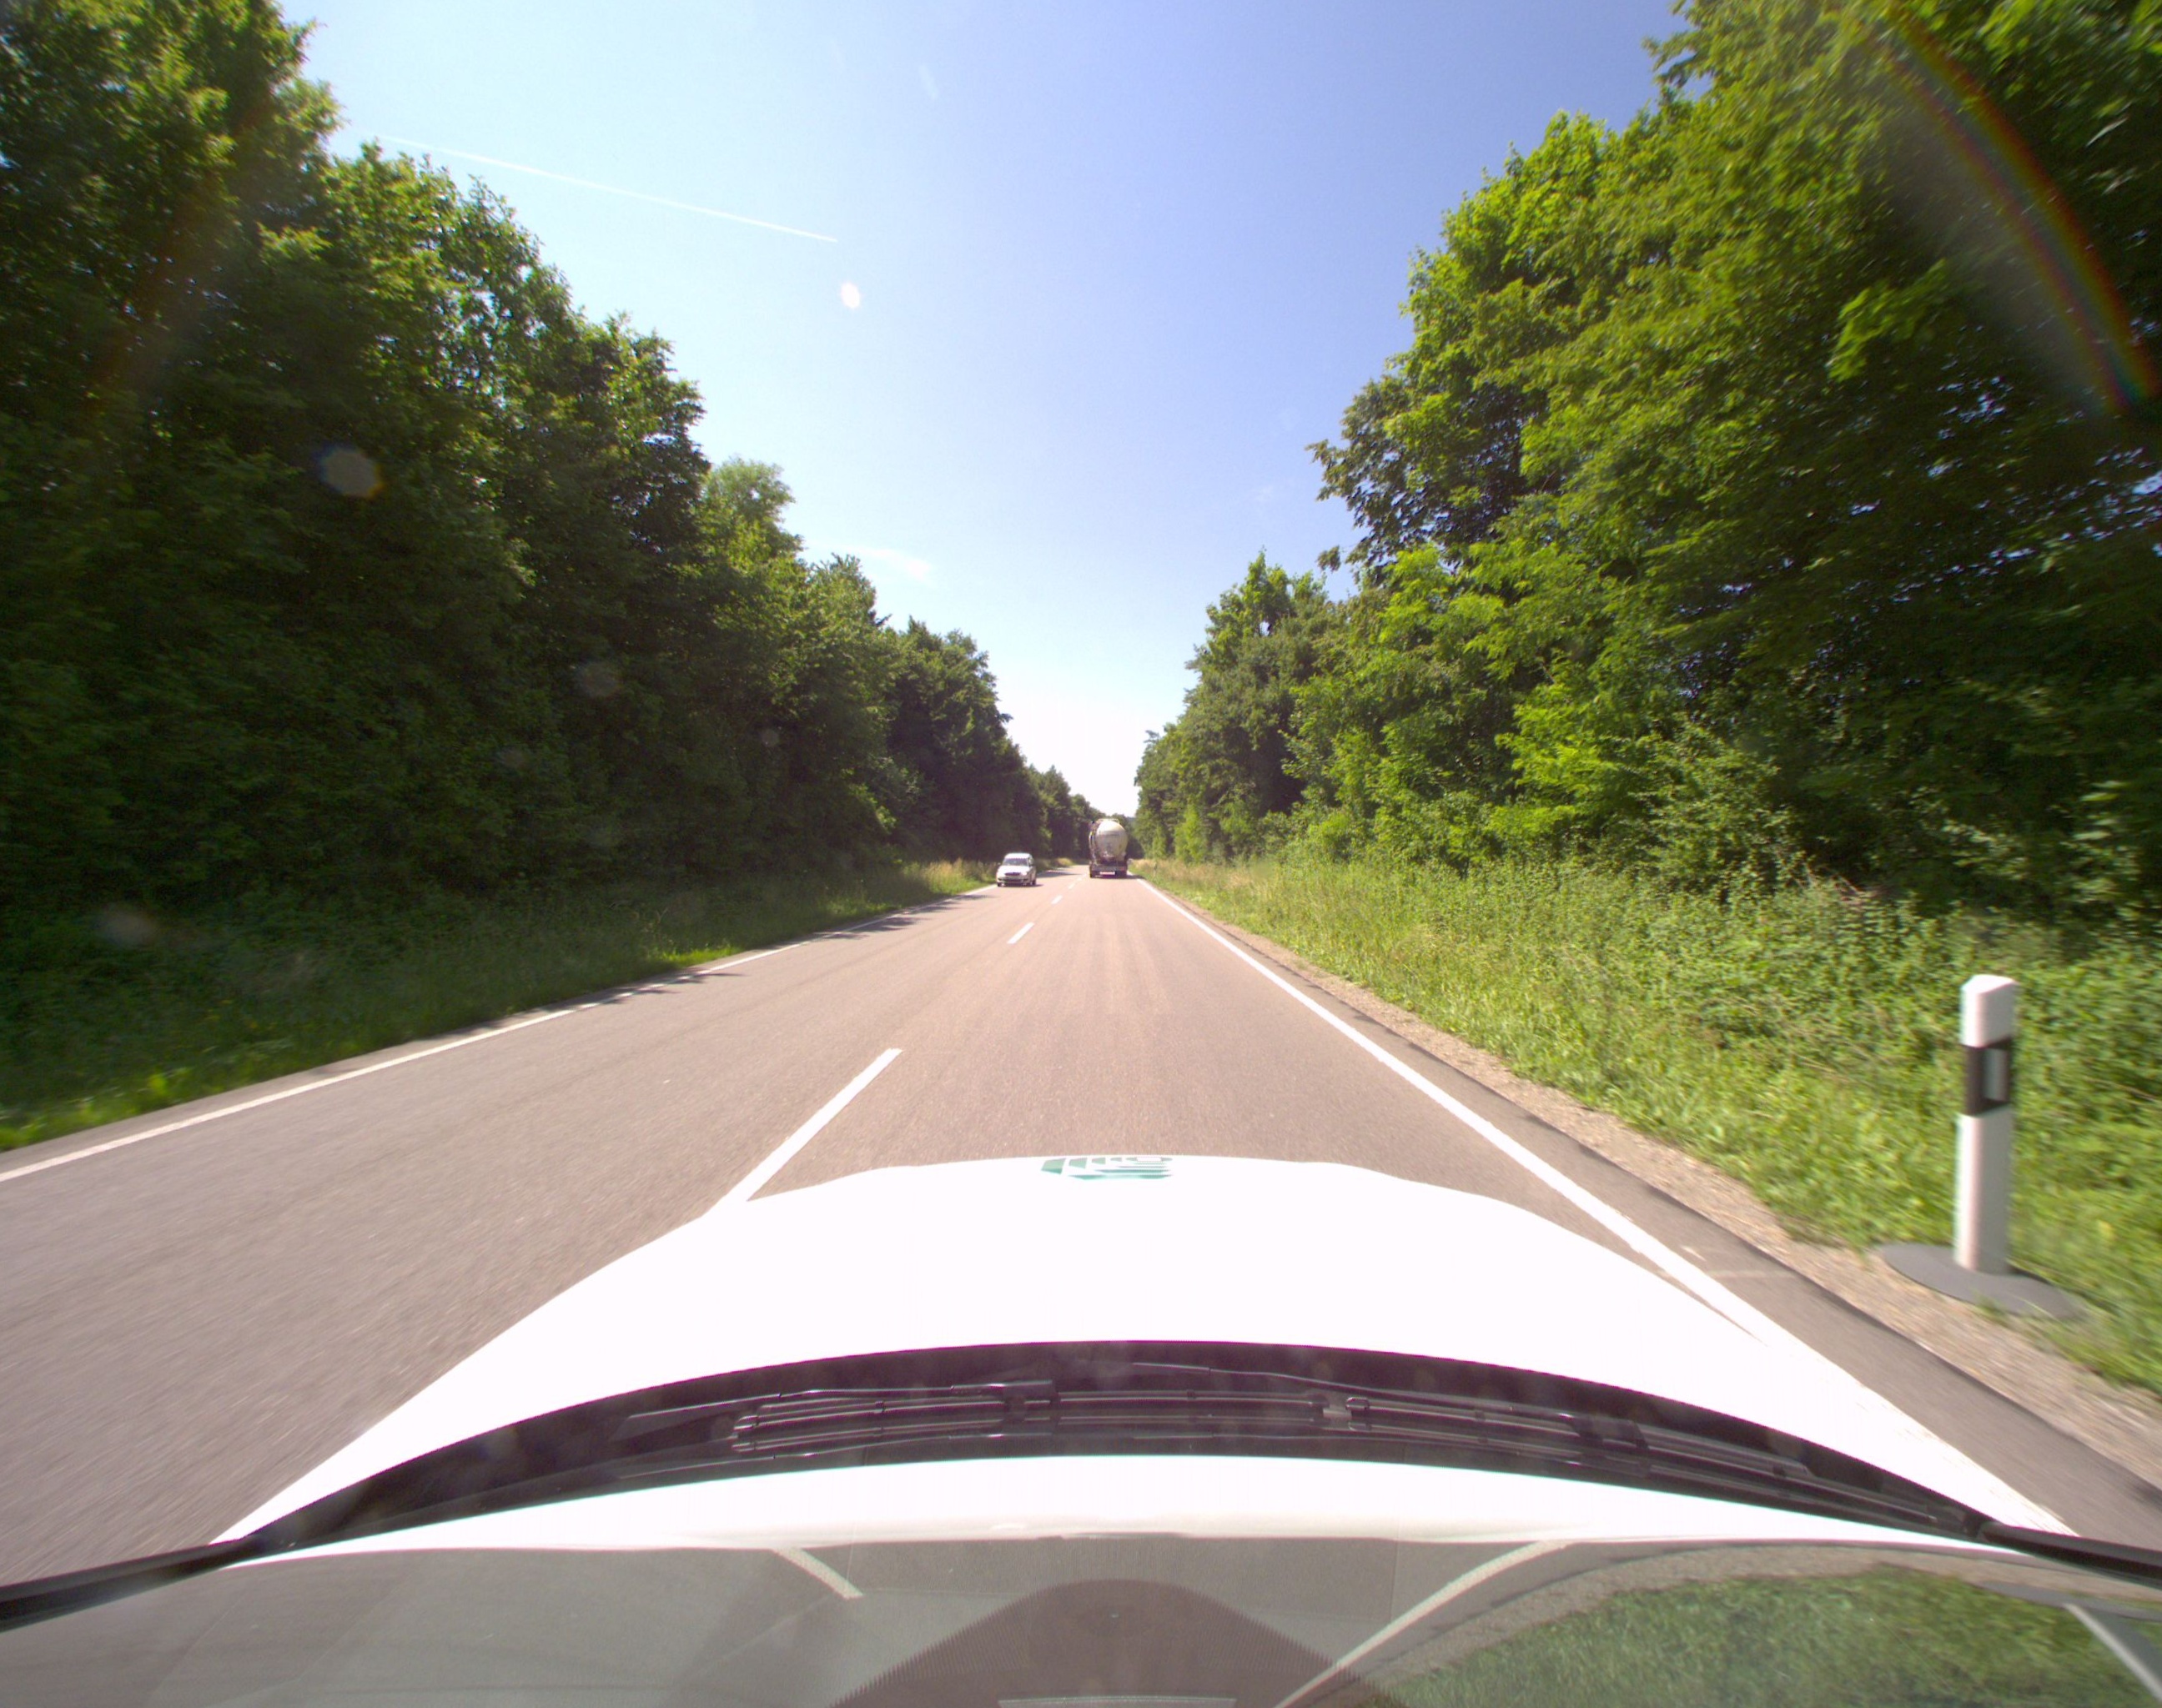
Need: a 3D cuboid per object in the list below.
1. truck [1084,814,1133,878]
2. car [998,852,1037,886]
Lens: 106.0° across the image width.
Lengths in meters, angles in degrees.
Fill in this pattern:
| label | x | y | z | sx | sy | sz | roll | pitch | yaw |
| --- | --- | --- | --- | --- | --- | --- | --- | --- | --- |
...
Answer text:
| label | x | y | z | sx | sy | sz | roll | pitch | yaw |
| --- | --- | --- | --- | --- | --- | --- | --- | --- | --- |
| truck | 2.014 | -0.476 | 60.017 | 3.038 | 3.998 | 15.641 | 2 | 0 | 2 |
| car | -3.137 | 0.724 | 40.670 | 1.506 | 1.592 | 3.795 | -1 | 0 | 2 |
